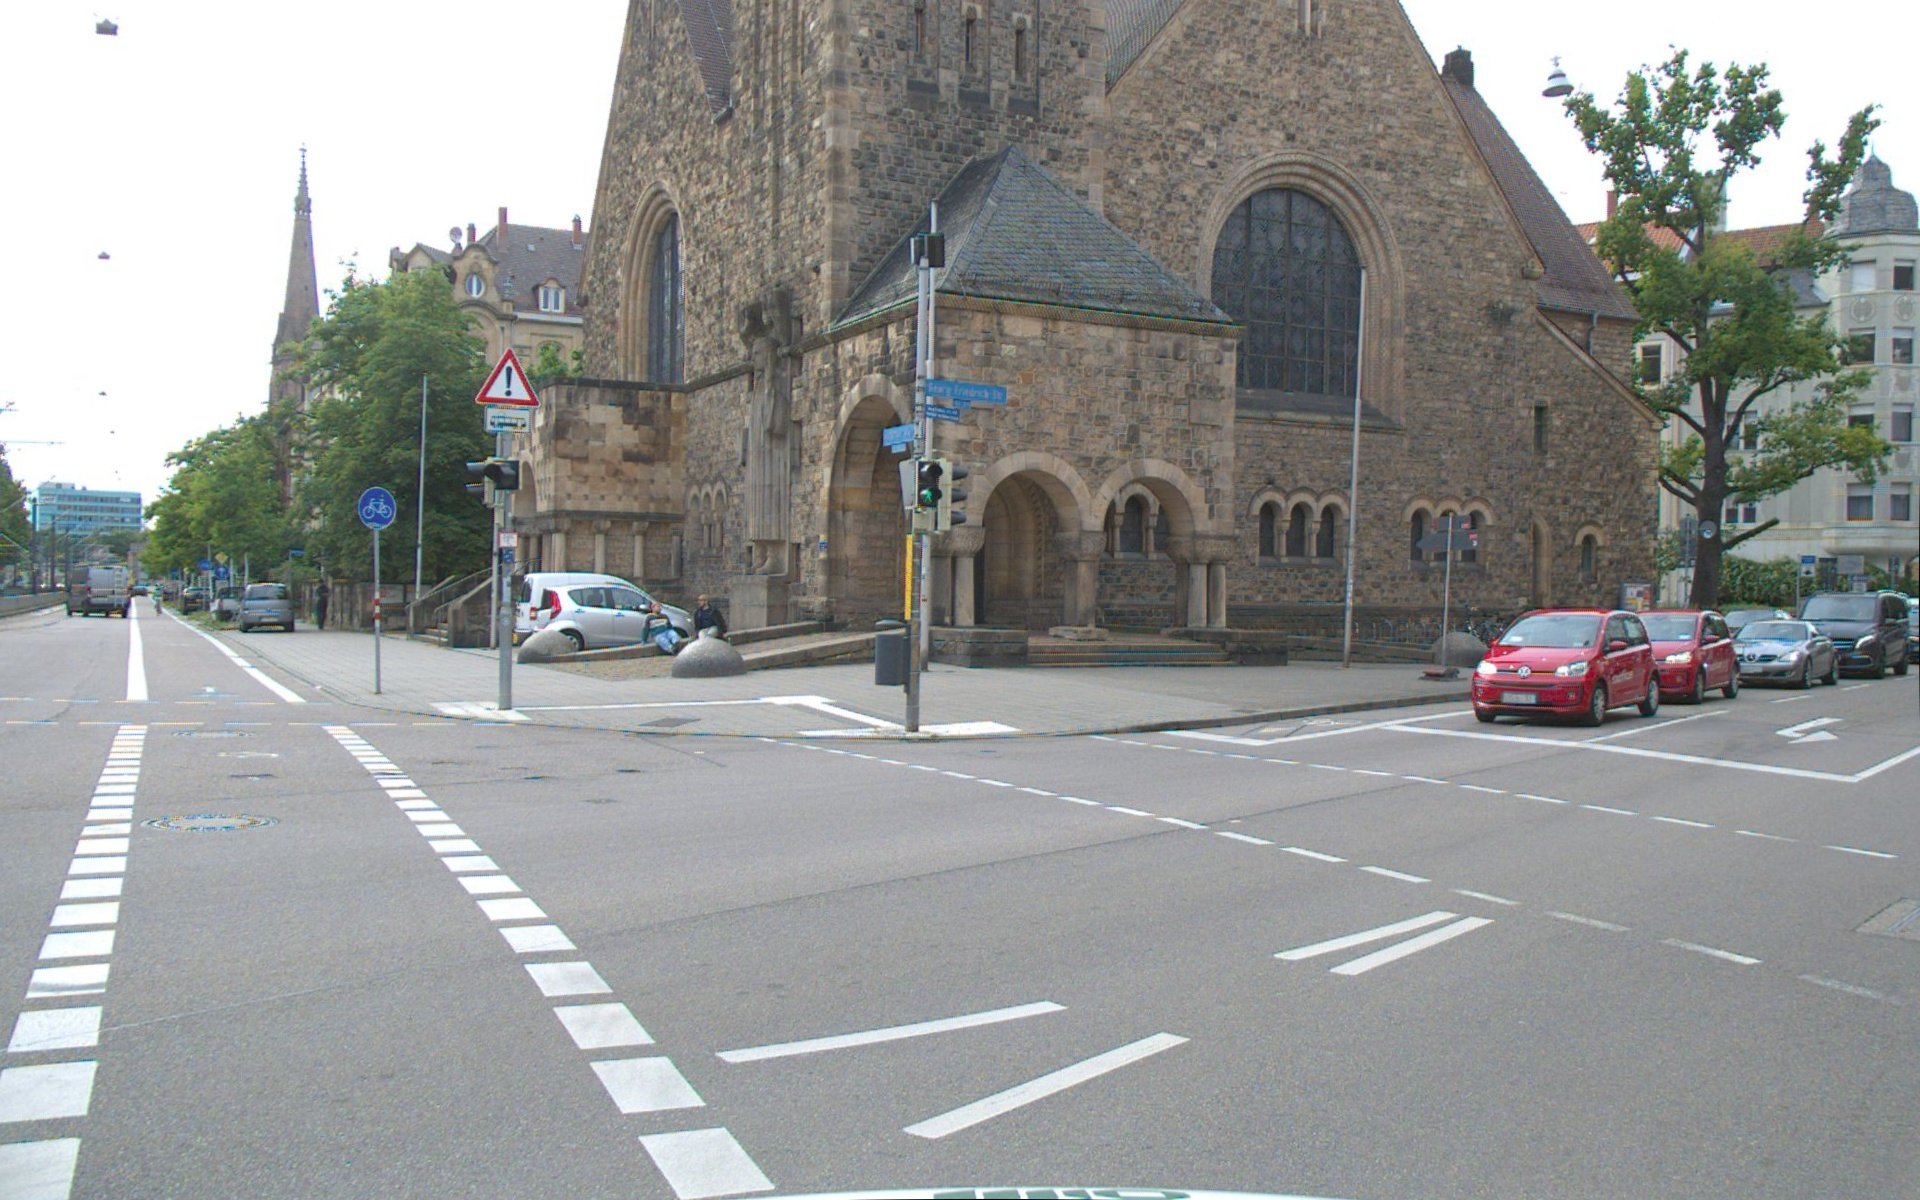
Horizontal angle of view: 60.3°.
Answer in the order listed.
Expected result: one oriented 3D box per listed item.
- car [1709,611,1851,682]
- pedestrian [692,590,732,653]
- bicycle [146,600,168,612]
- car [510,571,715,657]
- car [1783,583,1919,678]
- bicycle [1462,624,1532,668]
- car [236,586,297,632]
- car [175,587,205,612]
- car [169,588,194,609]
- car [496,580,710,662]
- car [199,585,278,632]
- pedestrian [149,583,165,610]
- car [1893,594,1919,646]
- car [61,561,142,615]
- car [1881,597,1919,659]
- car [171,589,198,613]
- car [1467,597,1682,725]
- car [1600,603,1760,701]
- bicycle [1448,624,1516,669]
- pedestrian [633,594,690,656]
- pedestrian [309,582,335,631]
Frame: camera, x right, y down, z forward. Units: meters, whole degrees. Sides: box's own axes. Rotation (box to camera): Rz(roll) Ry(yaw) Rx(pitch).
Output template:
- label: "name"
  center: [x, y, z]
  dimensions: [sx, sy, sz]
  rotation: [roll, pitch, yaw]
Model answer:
- label: "car"
  center: [16.219, 0.900, 32.635]
  dimensions: [1.678, 1.309, 4.022]
  rotation: [-2, -2, 39]
- label: "pedestrian"
  center: [-5.123, 0.440, 34.142]
  dimensions: [0.724, 1.250, 1.059]
  rotation: [2, -1, -12]
- label: "bicycle"
  center: [-44.986, 0.320, 92.647]
  dimensions: [0.606, 0.666, 2.348]
  rotation: [2, -1, -37]
- label: "car"
  center: [-8.374, 0.345, 39.976]
  dimensions: [4.556, 1.914, 1.648]
  rotation: [2, -1, -28]
- label: "car"
  center: [20.416, 0.636, 37.753]
  dimensions: [1.882, 1.988, 5.259]
  rotation: [1, 1, 38]
- label: "bicycle"
  center: [14.790, 1.263, 45.595]
  dimensions: [0.655, 1.150, 1.759]
  rotation: [1, 0, -39]
- label: "car"
  center: [-23.692, 0.285, 56.431]
  dimensions: [1.681, 1.484, 3.858]
  rotation: [2, -1, -26]
- label: "car"
  center: [-60.223, -0.049, 129.363]
  dimensions: [1.970, 1.914, 3.966]
  rotation: [1, 0, -27]
- label: "car"
  center: [-76.902, -0.186, 163.338]
  dimensions: [1.970, 1.959, 3.964]
  rotation: [2, -1, -28]
- label: "car"
  center: [-7.844, 0.469, 36.399]
  dimensions: [4.297, 1.665, 1.648]
  rotation: [2, -1, -28]
- label: "car"
  center: [-28.503, 0.308, 65.231]
  dimensions: [2.180, 1.776, 4.980]
  rotation: [0, 0, -32]
- label: "pedestrian"
  center: [-45.049, -0.188, 92.793]
  dimensions: [0.647, 1.499, 0.643]
  rotation: [1, 0, -37]
- label: "car"
  center: [38.308, 0.787, 65.262]
  dimensions: [1.815, 1.973, 4.524]
  rotation: [2, 1, 40]
- label: "car"
  center: [-44.281, -0.647, 85.244]
  dimensions: [2.496, 2.652, 5.744]
  rotation: [2, -1, -40]
- label: "car"
  center: [28.103, 0.787, 47.910]
  dimensions: [1.815, 1.713, 4.527]
  rotation: [1, 1, 38]
- label: "car"
  center: [-68.366, 0.082, 145.760]
  dimensions: [1.970, 2.049, 3.964]
  rotation: [2, -1, -28]
- label: "car"
  center: [8.399, 0.768, 22.431]
  dimensions: [1.622, 1.555, 3.876]
  rotation: [-2, -1, 38]
- label: "car"
  center: [11.840, 0.837, 27.095]
  dimensions: [1.576, 1.482, 3.702]
  rotation: [-2, -2, 37]
- label: "bicycle"
  center: [14.223, 1.260, 45.093]
  dimensions: [0.562, 1.145, 1.760]
  rotation: [1, 0, -39]
- label: "pedestrian"
  center: [-6.074, 0.498, 33.579]
  dimensions: [0.728, 1.212, 1.480]
  rotation: [2, -1, -26]
- label: "pedestrian"
  center: [-22.413, 0.221, 58.117]
  dimensions: [0.765, 1.676, 0.793]
  rotation: [2, -1, -21]
